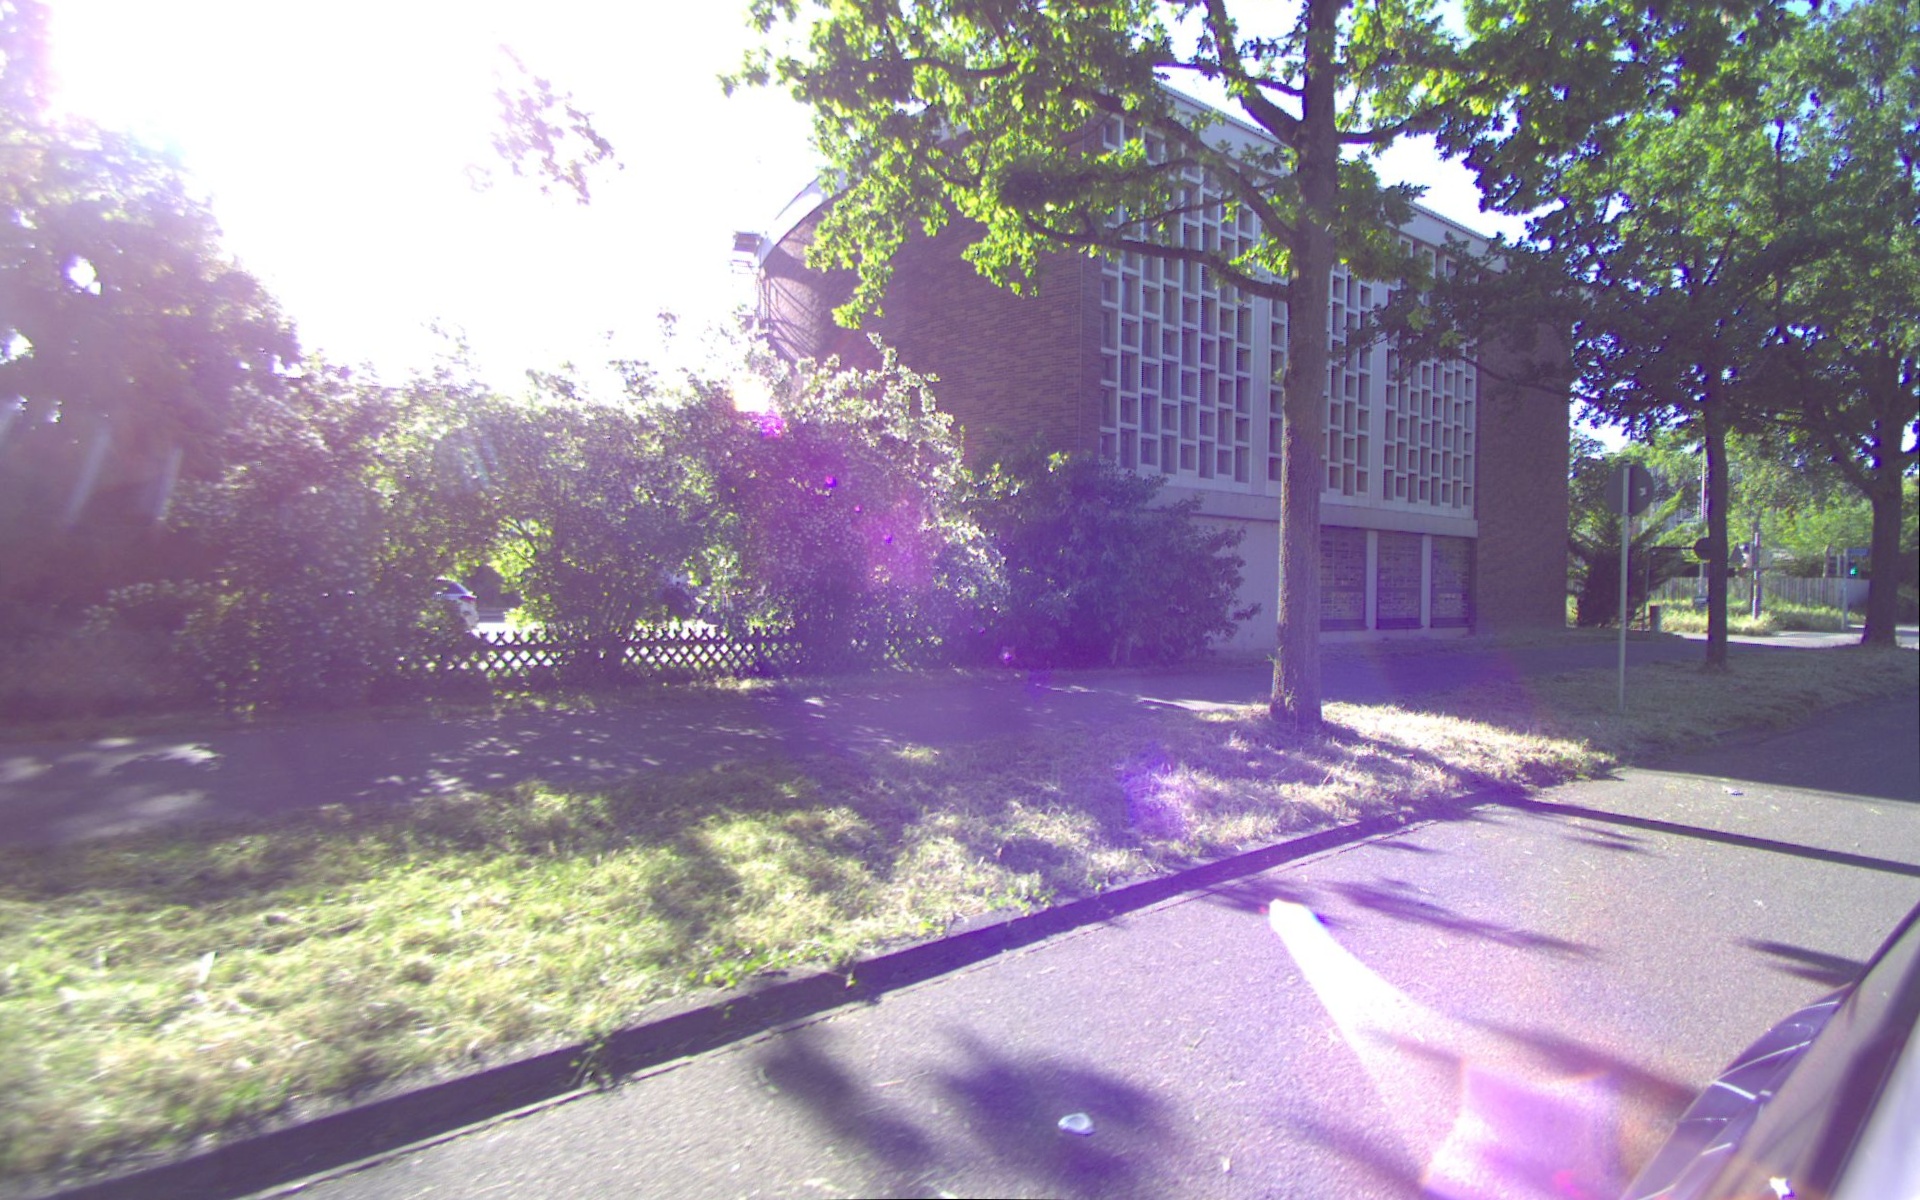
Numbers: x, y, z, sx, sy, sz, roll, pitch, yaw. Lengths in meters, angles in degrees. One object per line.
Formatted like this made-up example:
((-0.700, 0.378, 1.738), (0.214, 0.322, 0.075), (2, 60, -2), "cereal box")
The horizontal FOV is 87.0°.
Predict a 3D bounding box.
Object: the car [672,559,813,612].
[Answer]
((-8.910, -0.649, 41.626), (5.164, 2.038, 2.304), (-2, 3, -34), "car")

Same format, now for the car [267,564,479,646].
((-12.995, 0.043, 22.593), (3.921, 1.637, 1.883), (-1, 3, -30), "car")
